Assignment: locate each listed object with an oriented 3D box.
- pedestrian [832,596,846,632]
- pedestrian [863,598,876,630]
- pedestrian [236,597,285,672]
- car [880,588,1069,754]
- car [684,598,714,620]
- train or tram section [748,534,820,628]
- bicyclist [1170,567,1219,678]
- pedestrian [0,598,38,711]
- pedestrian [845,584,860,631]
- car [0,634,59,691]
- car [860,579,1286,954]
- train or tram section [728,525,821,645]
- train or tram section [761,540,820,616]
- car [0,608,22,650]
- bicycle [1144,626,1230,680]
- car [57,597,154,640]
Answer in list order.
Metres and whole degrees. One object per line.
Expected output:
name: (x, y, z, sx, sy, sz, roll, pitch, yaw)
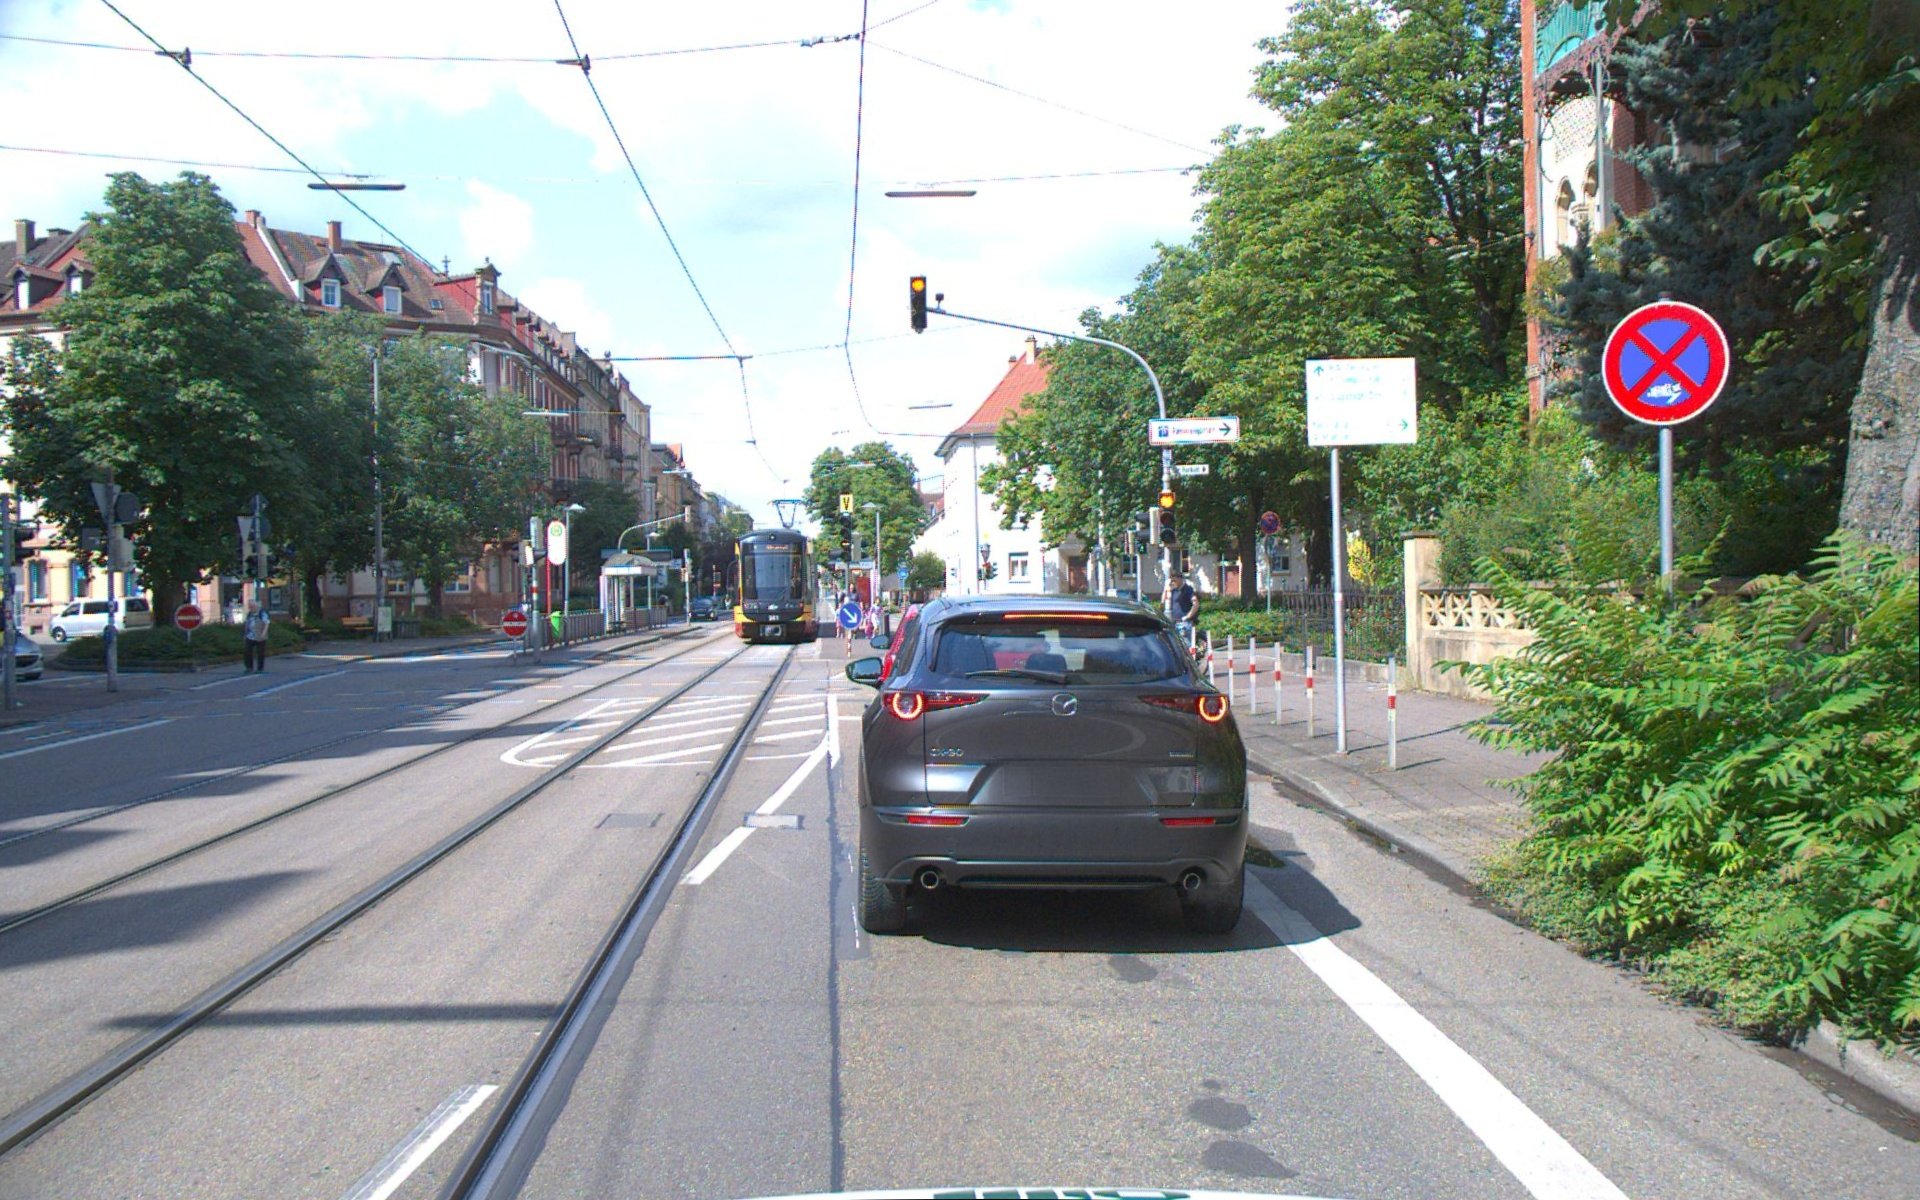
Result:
pedestrian: (-3.765, 0.431, 51.446, 0.372, 1.089, 0.474, -1, 0, -6)
pedestrian: (-2.832, 0.437, 51.525, 0.372, 1.001, 0.474, -1, 0, -6)
pedestrian: (-16.614, 0.817, 39.275, 0.804, 1.735, 0.719, -1, 0, 4)
car: (0.092, 0.655, 17.415, 1.742, 1.526, 3.999, 1, 0, -1)
car: (-16.466, 0.575, 104.553, 1.583, 1.333, 3.624, -1, 0, -5)
train or tram section: (-7.435, -0.886, 71.327, 2.699, 3.551, 14.394, -1, 1, -5)
bicyclist: (3.944, 0.374, 27.825, 0.597, 1.824, 0.656, -1, 0, -11)
pedestrian: (-15.502, 0.878, 26.715, 0.668, 1.785, 0.802, -1, 0, 13)
pedestrian: (-3.343, 0.231, 51.494, 0.441, 1.459, 0.474, -1, 0, -6)
car: (-22.397, 1.402, 37.618, 3.916, 1.203, 1.674, -1, 0, 33)
car: (0.421, 0.678, 8.814, 1.742, 1.526, 3.999, 1, 0, -1)
train or tram section: (-6.208, -0.599, 57.008, 2.699, 3.551, 14.394, -1, 1, -5)
train or tram section: (-8.672, -1.173, 85.634, 2.699, 3.551, 14.394, -1, 1, -5)
car: (-39.610, 1.199, 65.382, 3.906, 1.624, 2.000, -1, 0, -1)
bicycle: (3.901, 0.894, 28.329, 1.685, 0.838, 0.487, -1, 0, -43)
car: (-40.010, 0.855, 77.424, 3.906, 1.937, 1.999, -1, 0, 23)
